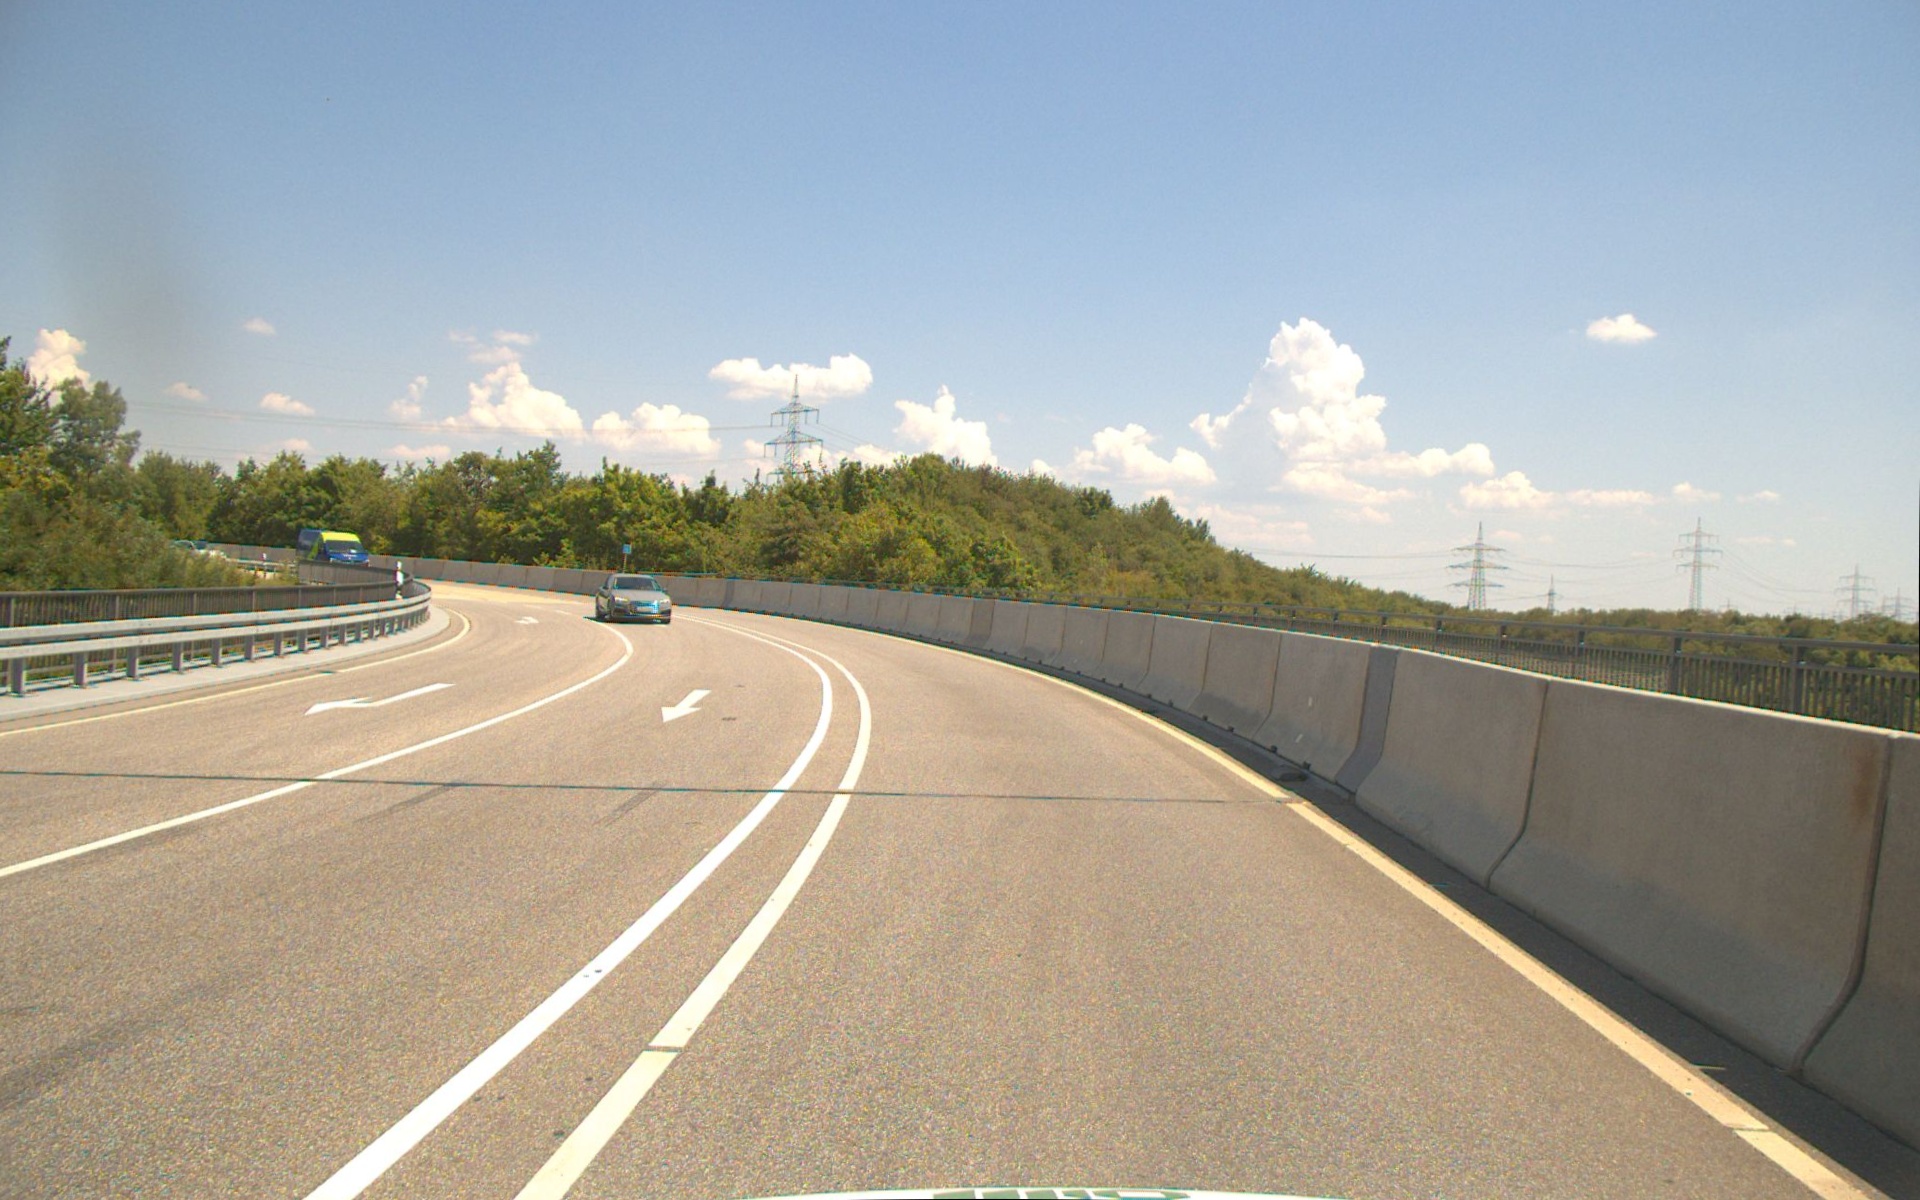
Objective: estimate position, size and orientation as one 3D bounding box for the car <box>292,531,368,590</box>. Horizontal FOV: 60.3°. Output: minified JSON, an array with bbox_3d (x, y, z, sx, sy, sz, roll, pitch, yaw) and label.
[{"bbox_3d":[-30.790,-1.961,80.749,1.979,2.526,5.413,-6,7,-36],"label":"car"}]

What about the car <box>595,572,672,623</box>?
[{"bbox_3d":[-9.865,-0.094,49.771,1.751,1.409,4.260,2,1,-18],"label":"car"}]
